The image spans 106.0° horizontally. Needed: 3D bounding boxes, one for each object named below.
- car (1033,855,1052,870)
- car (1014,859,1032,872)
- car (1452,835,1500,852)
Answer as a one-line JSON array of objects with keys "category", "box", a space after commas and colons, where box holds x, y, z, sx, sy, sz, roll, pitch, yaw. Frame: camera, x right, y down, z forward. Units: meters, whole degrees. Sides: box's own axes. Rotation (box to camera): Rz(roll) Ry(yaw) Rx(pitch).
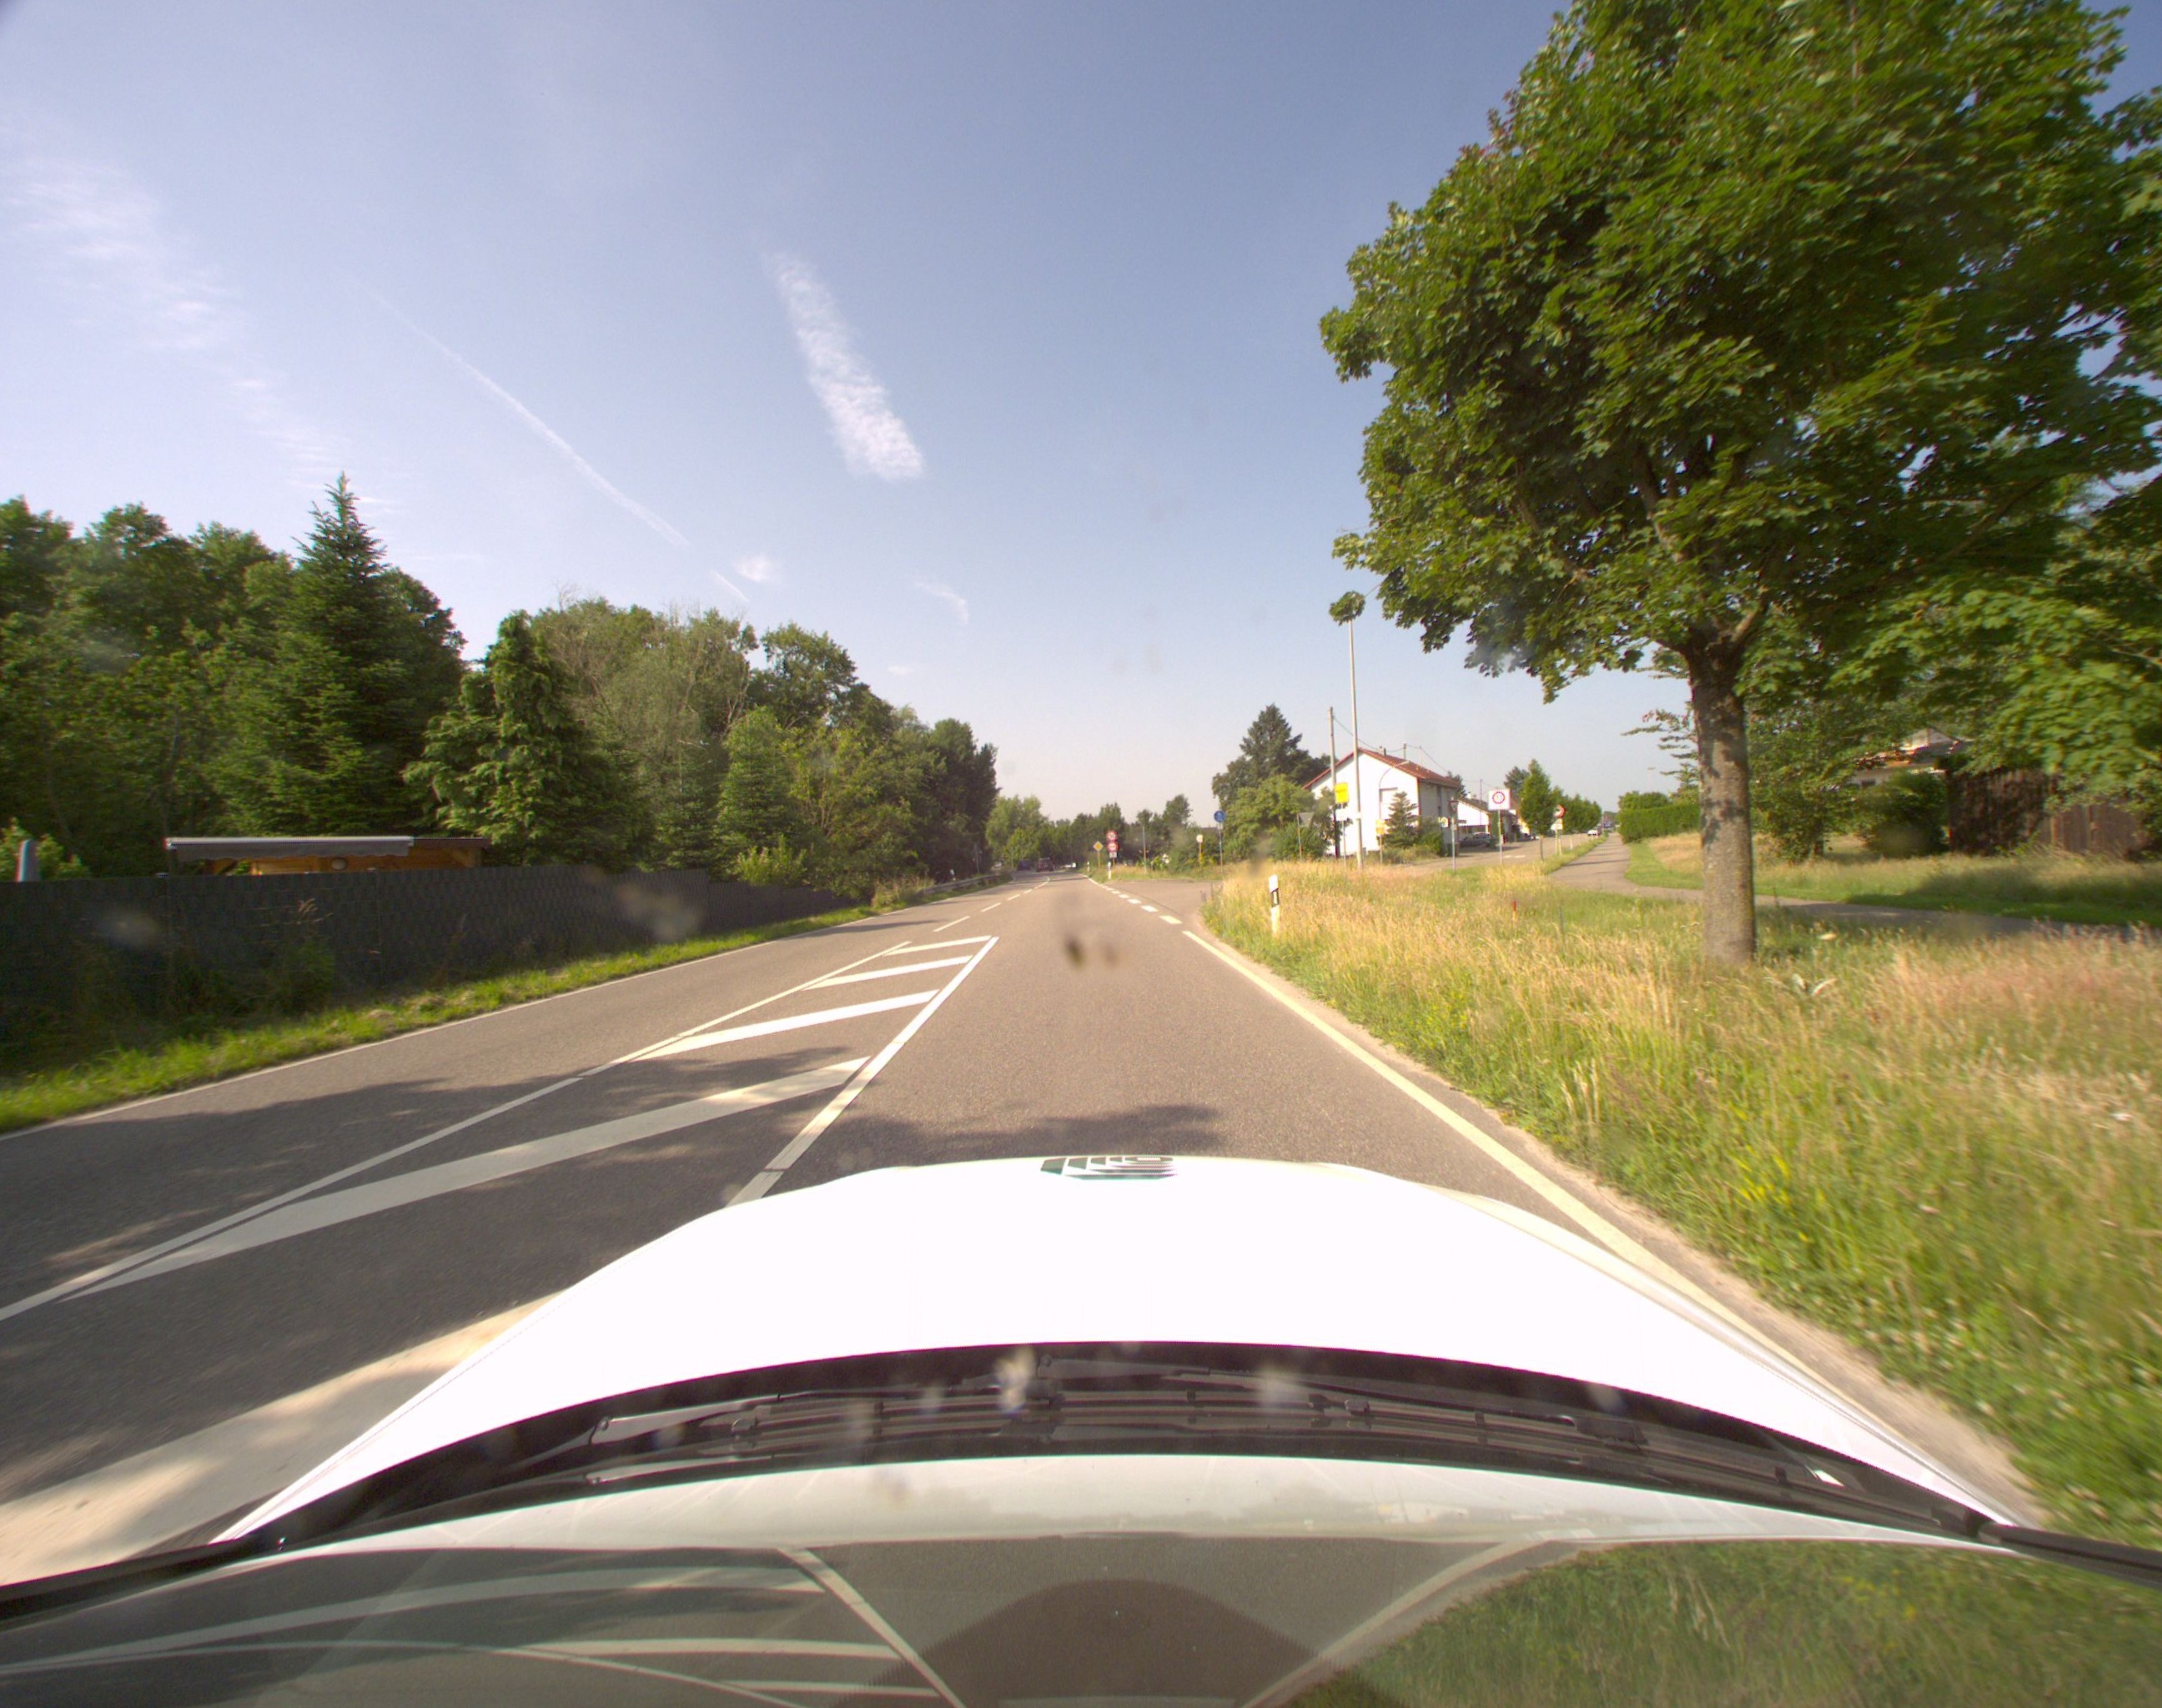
[{"category": "car", "box": [-4.836, 1.065, 101.668, 1.925, 1.771, 3.986, -2, 0, -10]}, {"category": "car", "box": [-8.891, 1.726, 123.935, 2.008, 1.771, 3.979, -2, 0, -15]}, {"category": "car", "box": [43.355, -1.179, 89.487, 4.403, 1.698, 1.782, -1, 0, 40]}]
